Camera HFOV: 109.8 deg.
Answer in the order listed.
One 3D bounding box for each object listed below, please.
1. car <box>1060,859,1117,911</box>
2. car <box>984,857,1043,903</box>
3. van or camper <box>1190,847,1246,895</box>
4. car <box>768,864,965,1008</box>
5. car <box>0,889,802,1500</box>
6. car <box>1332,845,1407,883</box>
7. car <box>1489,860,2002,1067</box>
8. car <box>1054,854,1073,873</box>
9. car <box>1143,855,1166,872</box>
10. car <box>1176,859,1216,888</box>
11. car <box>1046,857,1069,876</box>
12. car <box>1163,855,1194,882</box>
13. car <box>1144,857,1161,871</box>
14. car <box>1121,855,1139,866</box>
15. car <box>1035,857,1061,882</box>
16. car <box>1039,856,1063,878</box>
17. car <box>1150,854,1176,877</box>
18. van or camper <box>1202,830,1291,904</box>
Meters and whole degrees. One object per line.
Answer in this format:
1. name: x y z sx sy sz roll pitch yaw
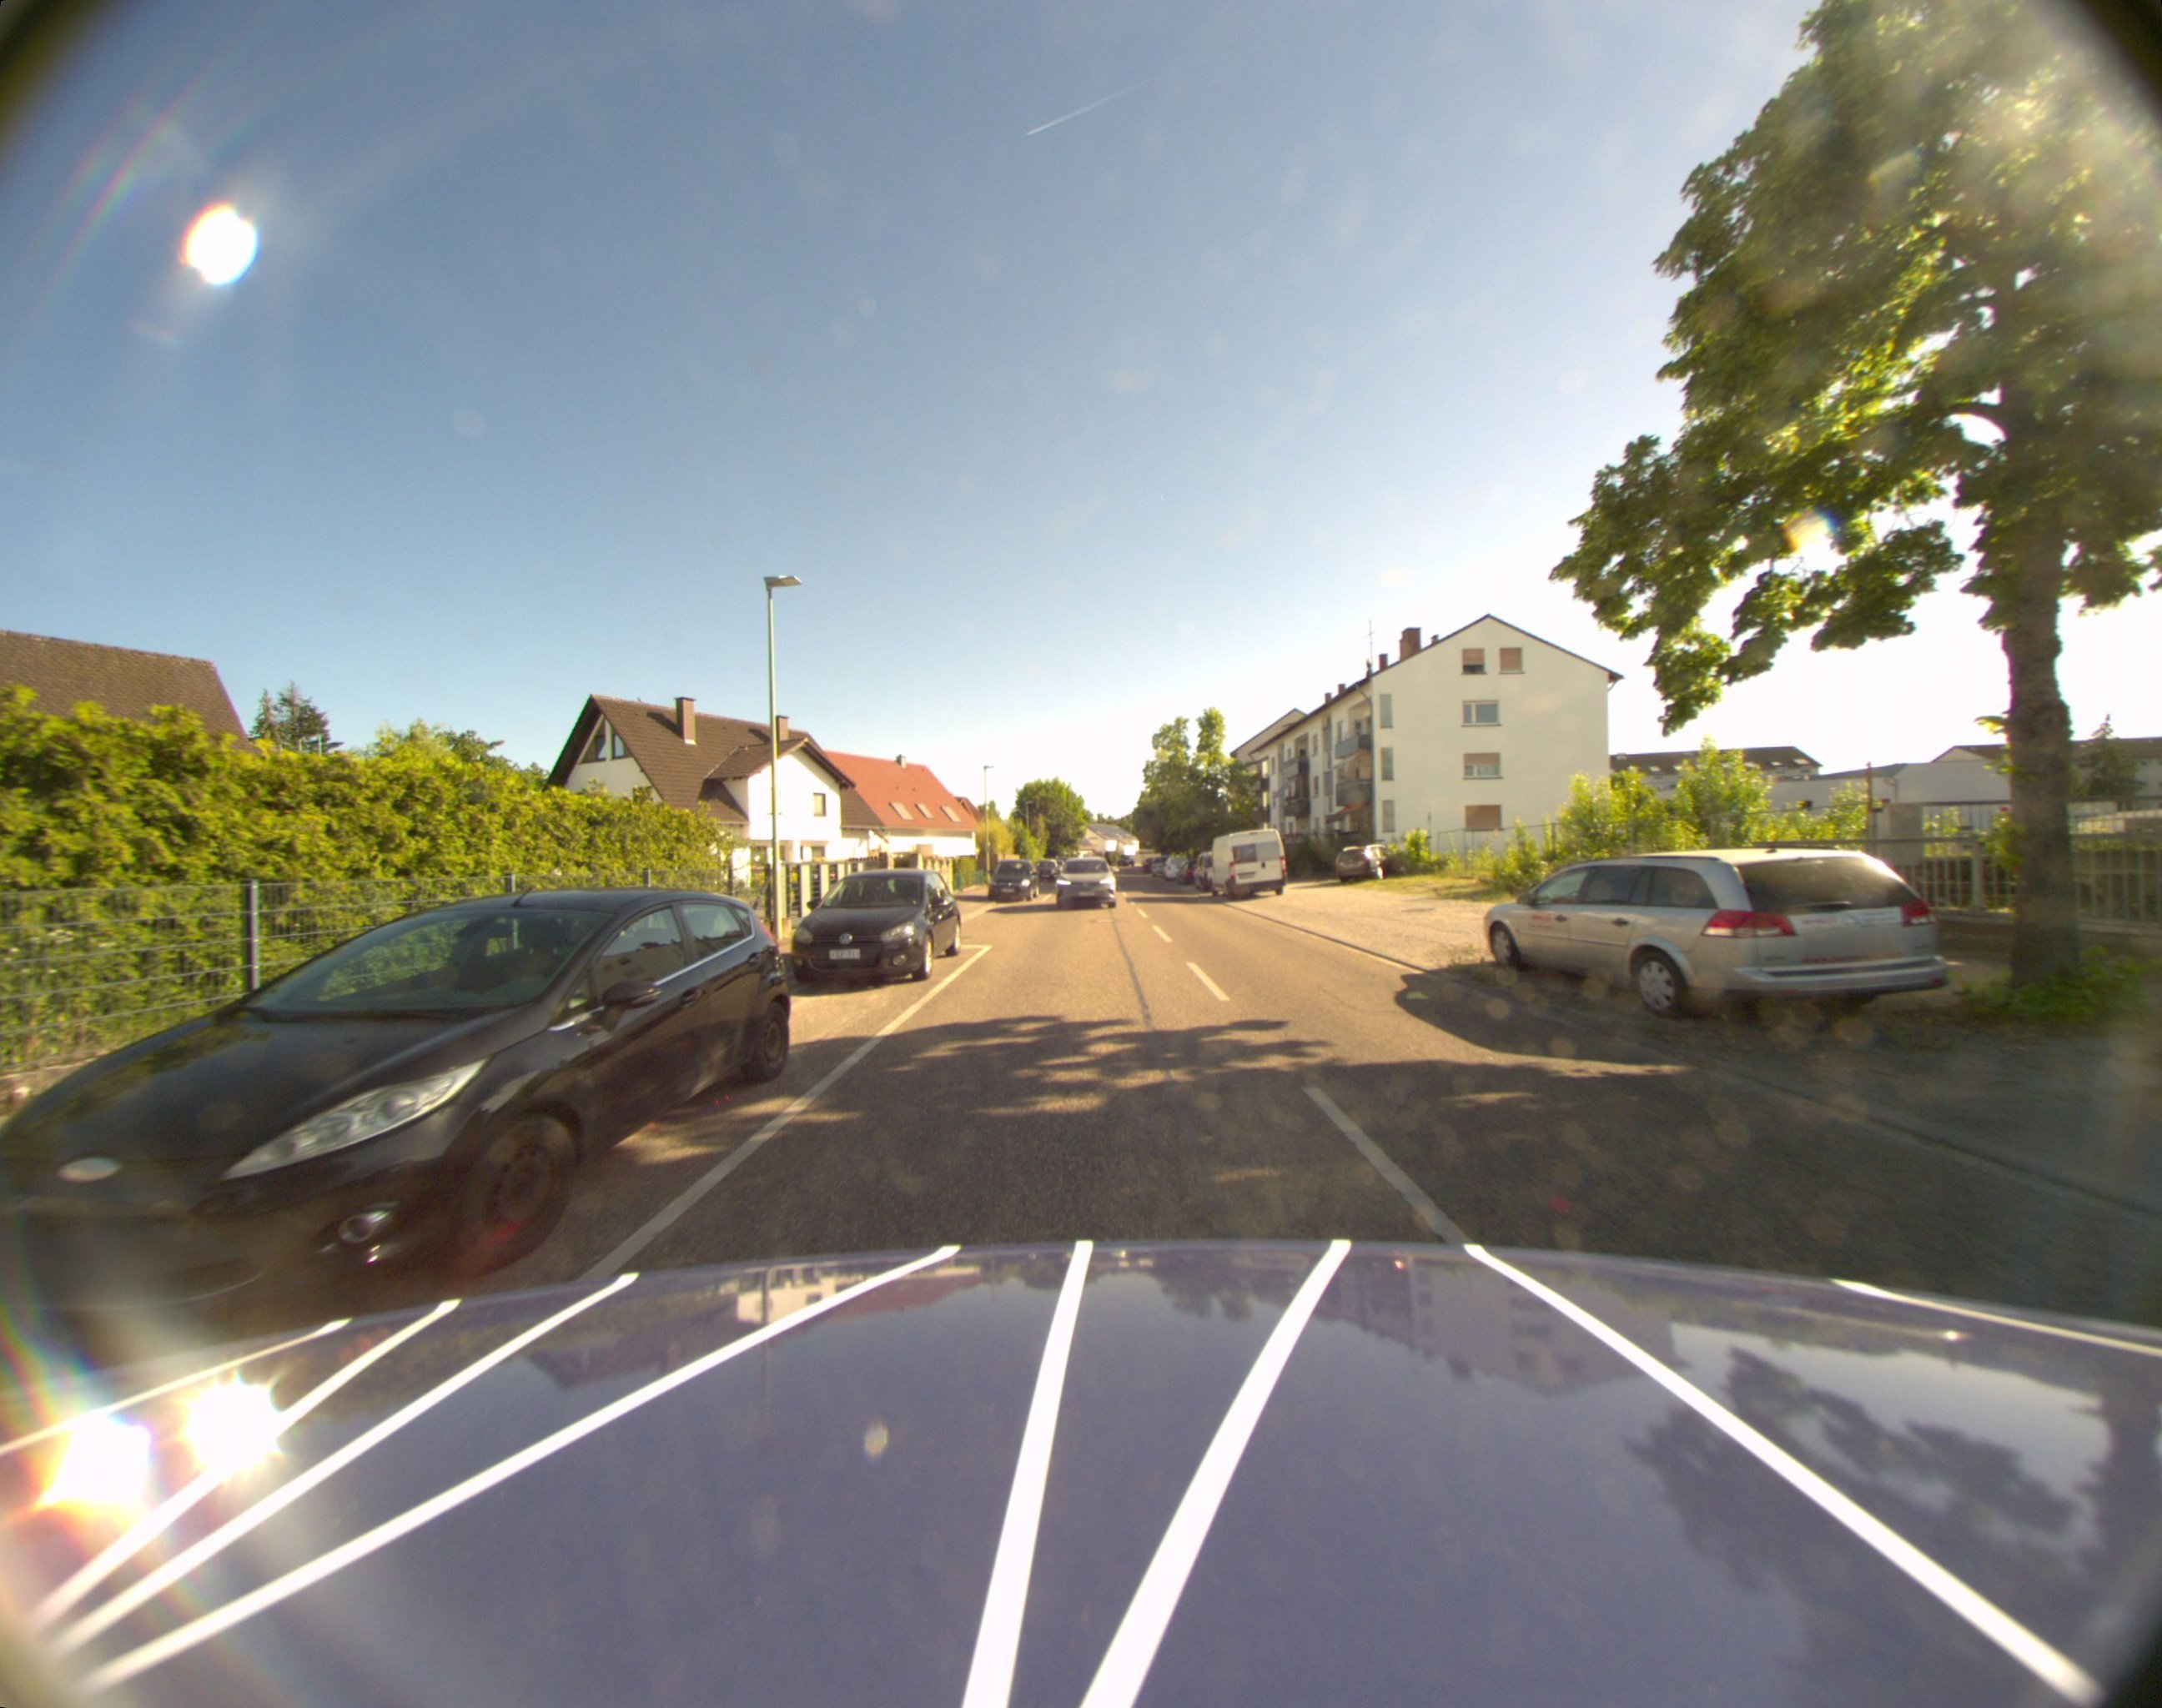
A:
1. car: 0.240 0.989 25.923 1.777 1.624 3.704 -1 0 0
2. car: -2.630 0.978 30.666 1.780 1.649 4.304 -2 0 2
3. van or camper: 6.407 0.747 35.932 1.882 2.002 4.279 -4 0 2
4. car: -2.887 1.017 11.117 1.780 1.649 3.816 -2 0 -1
5. car: -3.107 1.060 4.075 1.723 1.496 3.906 -2 0 0
6. car: 12.824 0.412 33.629 1.610 1.505 4.397 -2 0 41
7. car: 6.135 0.850 7.841 1.691 1.427 4.209 -4 0 3
8. car: -1.718 0.923 75.905 1.747 1.802 4.429 -1 0 0
9. car: 7.110 0.895 73.950 1.726 1.485 4.543 -3 0 0
10. car: 6.467 1.053 43.041 1.613 1.427 4.313 -3 0 1
11. car: -1.937 1.053 64.107 1.646 1.485 3.890 -1 0 2
12. car: 6.326 0.911 49.737 1.696 1.557 3.908 -4 0 4
13. car: 8.688 1.164 91.874 1.660 1.485 3.911 -5 -1 10
14. car: 7.979 1.009 122.695 1.774 1.727 3.710 2 1 23
15. car: -2.290 1.040 52.933 1.661 1.591 3.815 -2 0 -2
16. car: -2.324 0.990 58.630 1.729 1.591 3.815 -2 0 -2
17. car: 6.673 0.925 62.091 1.726 1.583 3.909 -7 0 3
18. van or camper: 6.376 0.503 30.048 2.128 2.475 5.555 -5 0 0
